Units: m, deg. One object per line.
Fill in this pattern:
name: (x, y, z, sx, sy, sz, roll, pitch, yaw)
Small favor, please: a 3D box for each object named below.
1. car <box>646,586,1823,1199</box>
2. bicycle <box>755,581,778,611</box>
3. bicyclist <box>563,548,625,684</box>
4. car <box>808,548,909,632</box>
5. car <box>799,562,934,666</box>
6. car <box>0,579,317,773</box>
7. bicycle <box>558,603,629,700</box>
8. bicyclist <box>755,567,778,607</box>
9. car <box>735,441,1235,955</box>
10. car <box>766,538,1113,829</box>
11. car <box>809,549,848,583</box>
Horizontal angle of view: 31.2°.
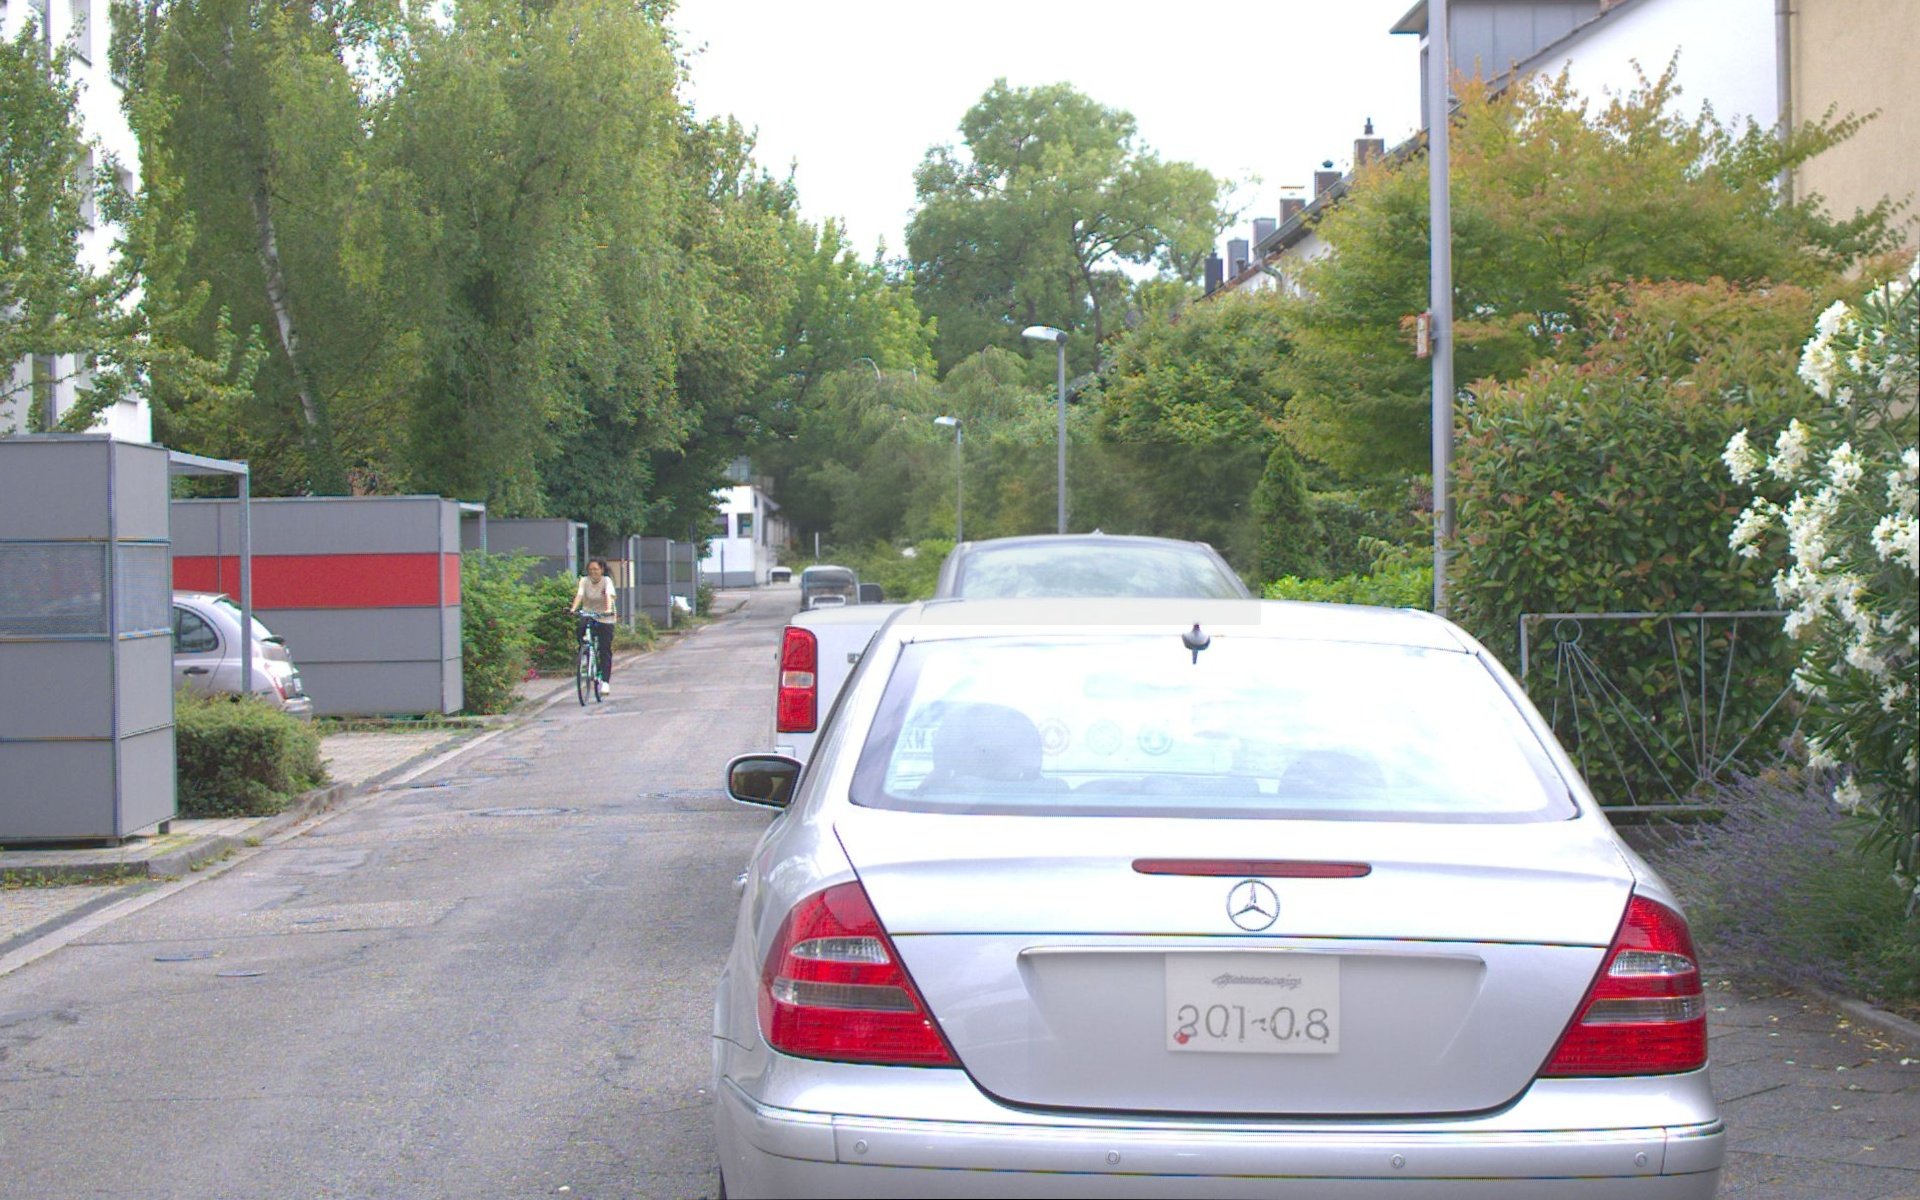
car: (0.395, 0.701, 7.455, 1.783, 1.416, 4.455, 0, 1, -1)
bicycle: (-7.373, -0.169, 131.159, 0.689, 1.127, 2.579, 1, 0, 0)
bicyclist: (-4.327, 0.185, 40.635, 0.597, 1.575, 0.767, -2, 1, -1)
car: (-2.024, -0.227, 67.670, 1.825, 1.576, 4.001, 1, 1, -3)
car: (-1.336, 0.172, 49.045, 1.825, 1.365, 4.331, 1, 1, -2)
car: (-7.308, 0.633, 28.903, 3.561, 1.475, 1.711, -2, 1, -6)
bicycle: (-4.319, 0.592, 40.630, 0.597, 1.072, 2.042, -2, 1, -1)
bicyclist: (-7.362, -0.484, 131.021, 0.798, 1.506, 0.934, 1, 0, 0)
car: (-0.027, 0.348, 15.796, 1.903, 1.958, 5.254, 0, 1, -3)
car: (-0.230, 0.449, 21.482, 1.824, 1.630, 4.163, 0, 1, -5)
car: (-6.306, -1.653, 165.547, 1.825, 1.576, 4.000, 1, 1, -2)
